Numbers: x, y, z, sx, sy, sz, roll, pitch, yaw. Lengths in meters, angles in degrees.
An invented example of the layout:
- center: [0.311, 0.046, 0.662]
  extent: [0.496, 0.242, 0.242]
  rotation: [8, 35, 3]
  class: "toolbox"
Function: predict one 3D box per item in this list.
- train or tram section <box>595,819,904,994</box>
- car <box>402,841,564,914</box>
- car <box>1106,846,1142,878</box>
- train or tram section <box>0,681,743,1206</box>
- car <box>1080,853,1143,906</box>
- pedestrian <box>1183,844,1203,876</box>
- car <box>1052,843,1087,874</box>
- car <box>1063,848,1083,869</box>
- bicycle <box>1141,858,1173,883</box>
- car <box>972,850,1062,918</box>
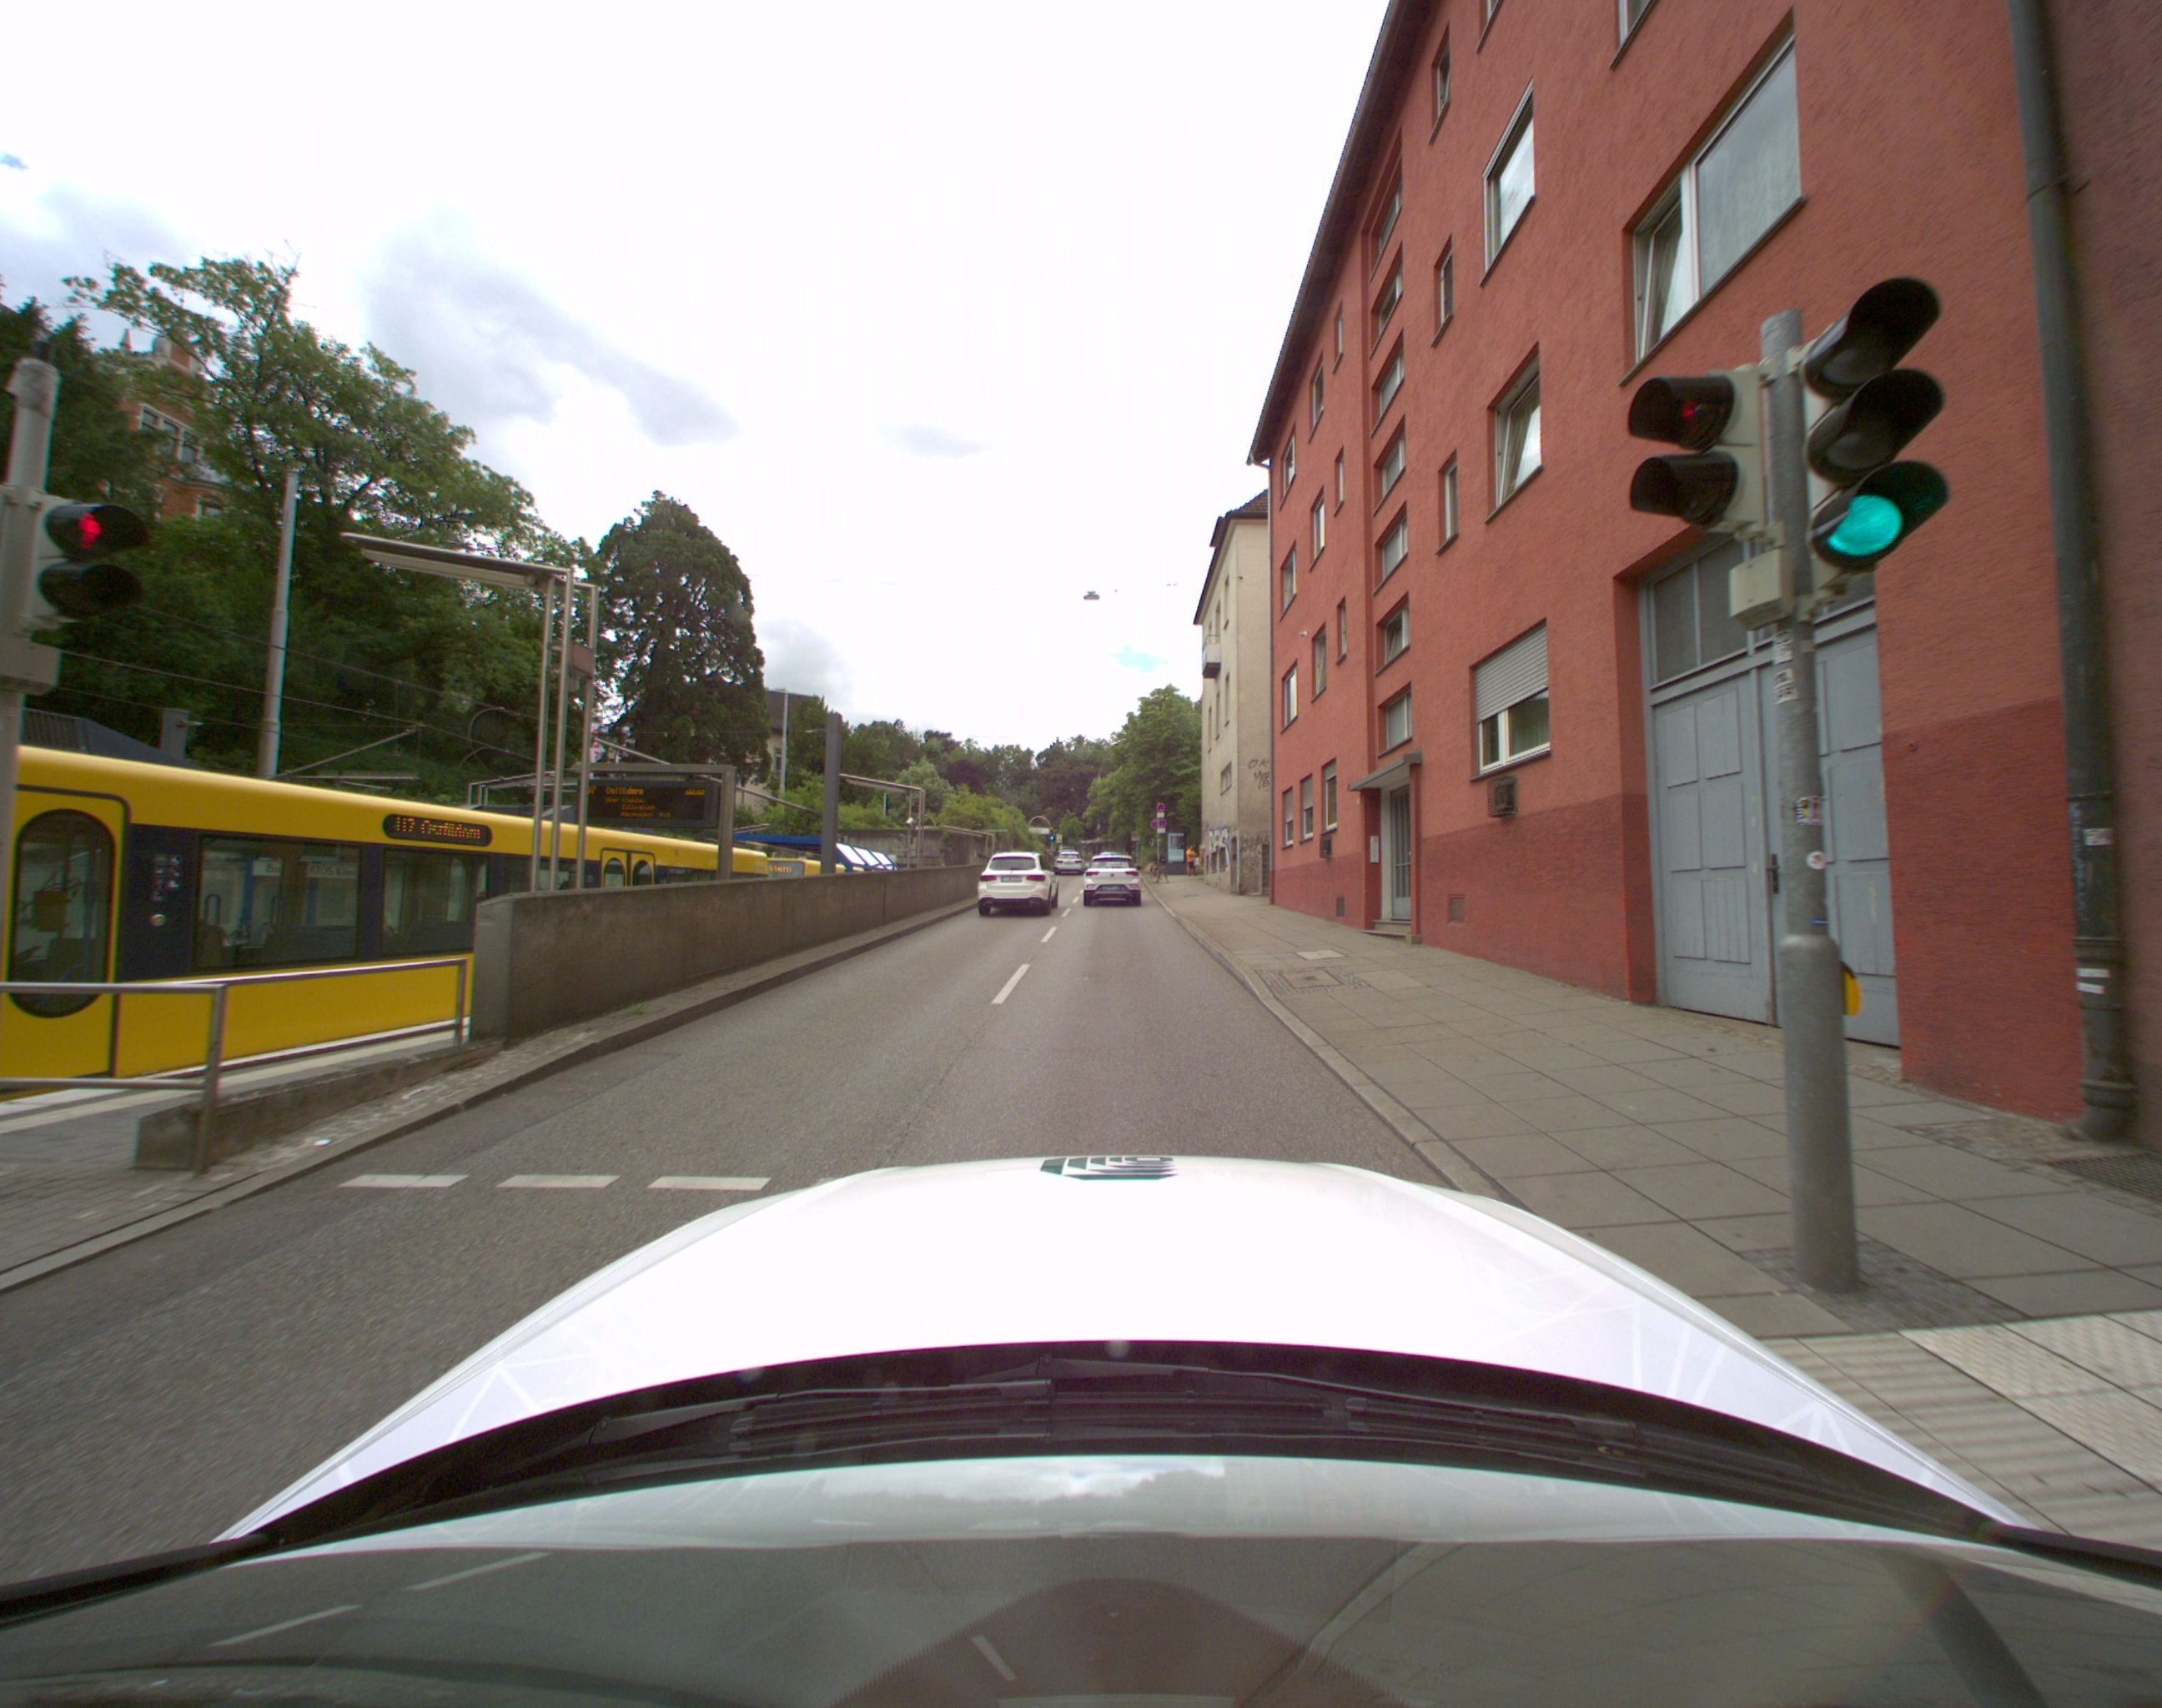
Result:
- center: [-8.056, 1.242, 22.822]
  extent: [2.938, 3.509, 12.989]
  rotation: [0, -2, 2]
  class: "train or tram section"
- center: [-18.534, 0.717, 25.505]
  extent: [1.987, 2.014, 3.999]
  rotation: [2, -1, 0]
  class: "car"
- center: [2.321, 0.402, 43.899]
  extent: [1.853, 1.632, 3.961]
  rotation: [0, 0, 2]
  class: "car"
- center: [-8.481, 0.787, 10.212]
  extent: [2.938, 3.484, 12.221]
  rotation: [0, -2, 2]
  class: "train or tram section"
- center: [1.013, 0.743, 25.967]
  extent: [1.857, 1.556, 3.898]
  rotation: [0, 0, 3]
  class: "car"
- center: [6.197, 0.337, 44.975]
  extent: [0.833, 1.712, 0.818]
  rotation: [-1, 0, -12]
  class: "pedestrian"
- center: [-0.698, 0.295, 52.396]
  extent: [1.986, 1.882, 4.002]
  rotation: [2, 0, 2]
  class: "car"
- center: [-0.752, 0.380, 77.456]
  extent: [1.743, 1.882, 4.002]
  rotation: [2, 0, 2]
  class: "car"
- center: [3.531, 0.765, 38.002]
  extent: [0.641, 1.143, 2.050]
  rotation: [0, -1, -22]
  class: "bicycle"
- center: [-1.642, 0.740, 22.388]
  extent: [1.869, 1.652, 4.345]
  rotation: [-1, 0, 3]
  class: "car"
